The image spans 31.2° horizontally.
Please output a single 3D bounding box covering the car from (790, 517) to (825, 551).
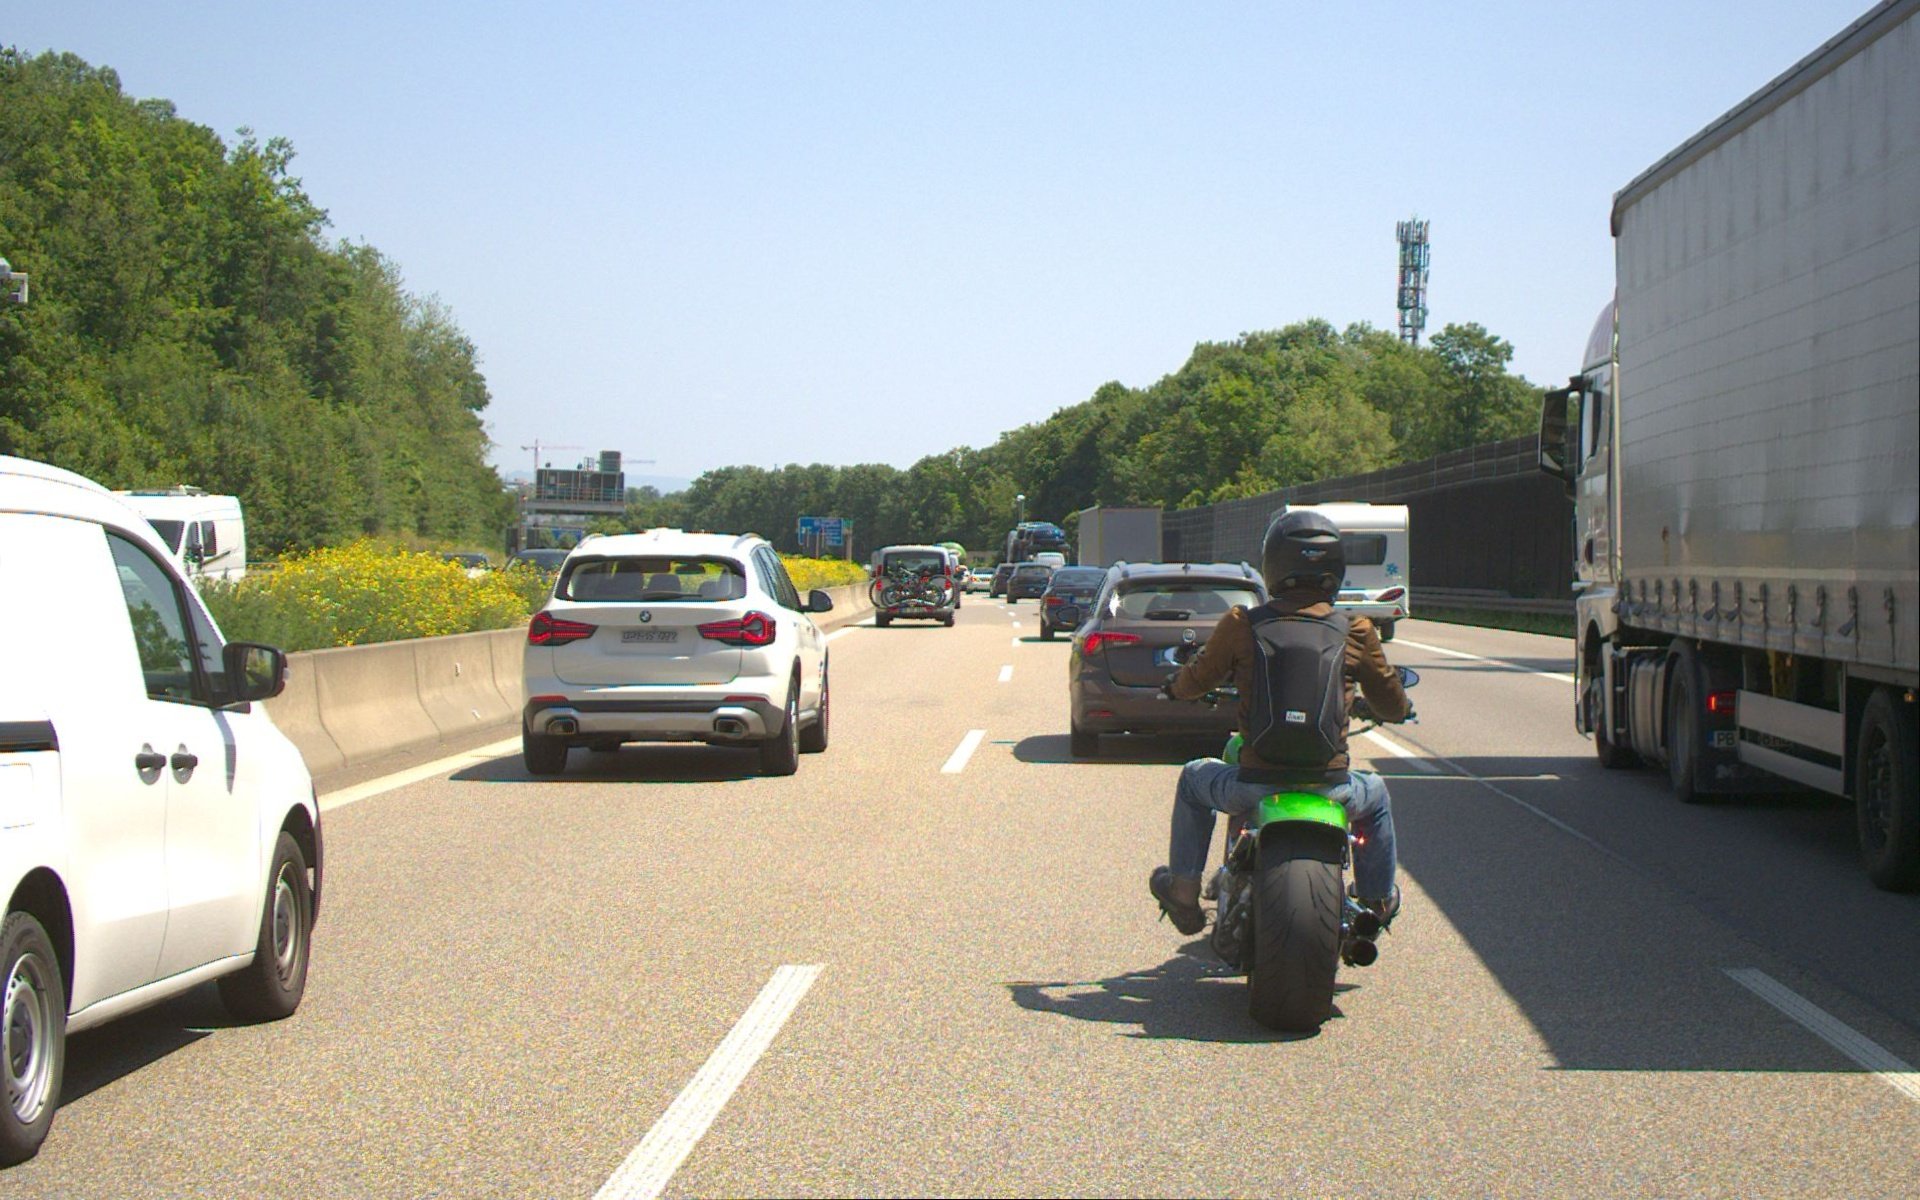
[{"bbox_3d":[-9.182,-3.962,207.099,1.993,2.007,4.001,1,1,-4],"label":"car"}]

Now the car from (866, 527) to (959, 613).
[{"bbox_3d":[-1.045,-0.659,78.217,1.899,1.867,4.412,1,0,2],"label":"car"}]

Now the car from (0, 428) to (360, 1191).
[{"bbox_3d":[-3.093,0.475,9.875,1.765,1.806,4.674,0,1,2],"label":"car"}]

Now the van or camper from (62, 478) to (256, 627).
[{"bbox_3d":[-15.214,-0.911,65.675,2.085,2.692,6.152,1,1,2],"label":"van or camper"}]

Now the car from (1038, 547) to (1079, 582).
[{"bbox_3d":[5.559,-1.994,193.669,2.107,1.870,4.000,1,0,-1],"label":"car"}]

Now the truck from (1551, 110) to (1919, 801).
[{"bbox_3d":[5.908,-0.896,23.581,2.886,4.132,5.985,1,1,3],"label":"truck"}]

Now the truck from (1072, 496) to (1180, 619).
[{"bbox_3d":[6.892,-1.712,143.929,3.802,4.943,8.951,1,0,-2],"label":"truck"}]

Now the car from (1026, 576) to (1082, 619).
[{"bbox_3d":[3.635,-0.101,134.080,1.993,1.634,4.000,1,0,-1],"label":"car"}]

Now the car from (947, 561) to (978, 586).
[{"bbox_3d":[0.167,-1.672,217.713,1.832,1.491,3.744,1,0,-2],"label":"car"}]

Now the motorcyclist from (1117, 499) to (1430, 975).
[{"bbox_3d":[1.102,0.428,11.650,0.900,1.470,1.871,0,0,10],"label":"motorcyclist"}]

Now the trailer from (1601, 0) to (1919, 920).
[{"bbox_3d":[5.521,-0.727,16.732,2.886,4.025,13.794,1,1,3],"label":"trailer"}]

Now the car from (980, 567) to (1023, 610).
[{"bbox_3d":[1.973,-0.539,164.100,1.911,2.007,3.691,1,0,-1],"label":"car"}]

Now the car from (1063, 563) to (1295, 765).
[{"bbox_3d":[1.709,0.479,26.891,1.662,1.448,3.868,1,0,4],"label":"car"}]

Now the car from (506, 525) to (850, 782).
[{"bbox_3d":[-1.950,0.330,25.241,1.864,1.688,4.955,0,1,3],"label":"car"}]

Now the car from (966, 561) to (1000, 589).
[{"bbox_3d":[1.240,-1.342,186.525,1.832,1.491,3.743,1,0,1],"label":"car"}]

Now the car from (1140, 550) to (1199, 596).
[{"bbox_3d":[7.577,-0.962,124.622,1.993,1.569,4.000,1,0,2],"label":"car"}]

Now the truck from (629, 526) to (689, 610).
[{"bbox_3d":[-19.759,-2.037,226.193,3.480,5.258,10.019,1,-1,-3],"label":"truck"}]

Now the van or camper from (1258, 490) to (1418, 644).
[{"bbox_3d":[7.262,-0.586,66.823,2.685,2.803,6.802,1,0,3],"label":"van or camper"}]

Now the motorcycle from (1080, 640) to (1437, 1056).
[{"bbox_3d":[1.078,0.752,11.628,0.965,1.144,2.810,1,1,10],"label":"motorcycle"}]

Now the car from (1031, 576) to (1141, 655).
[{"bbox_3d":[2.398,0.303,65.088,1.994,1.425,3.847,1,0,3],"label":"car"}]

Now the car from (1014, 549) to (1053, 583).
[{"bbox_3d":[4.251,-1.974,198.975,2.107,1.870,4.000,1,0,0],"label":"car"}]
